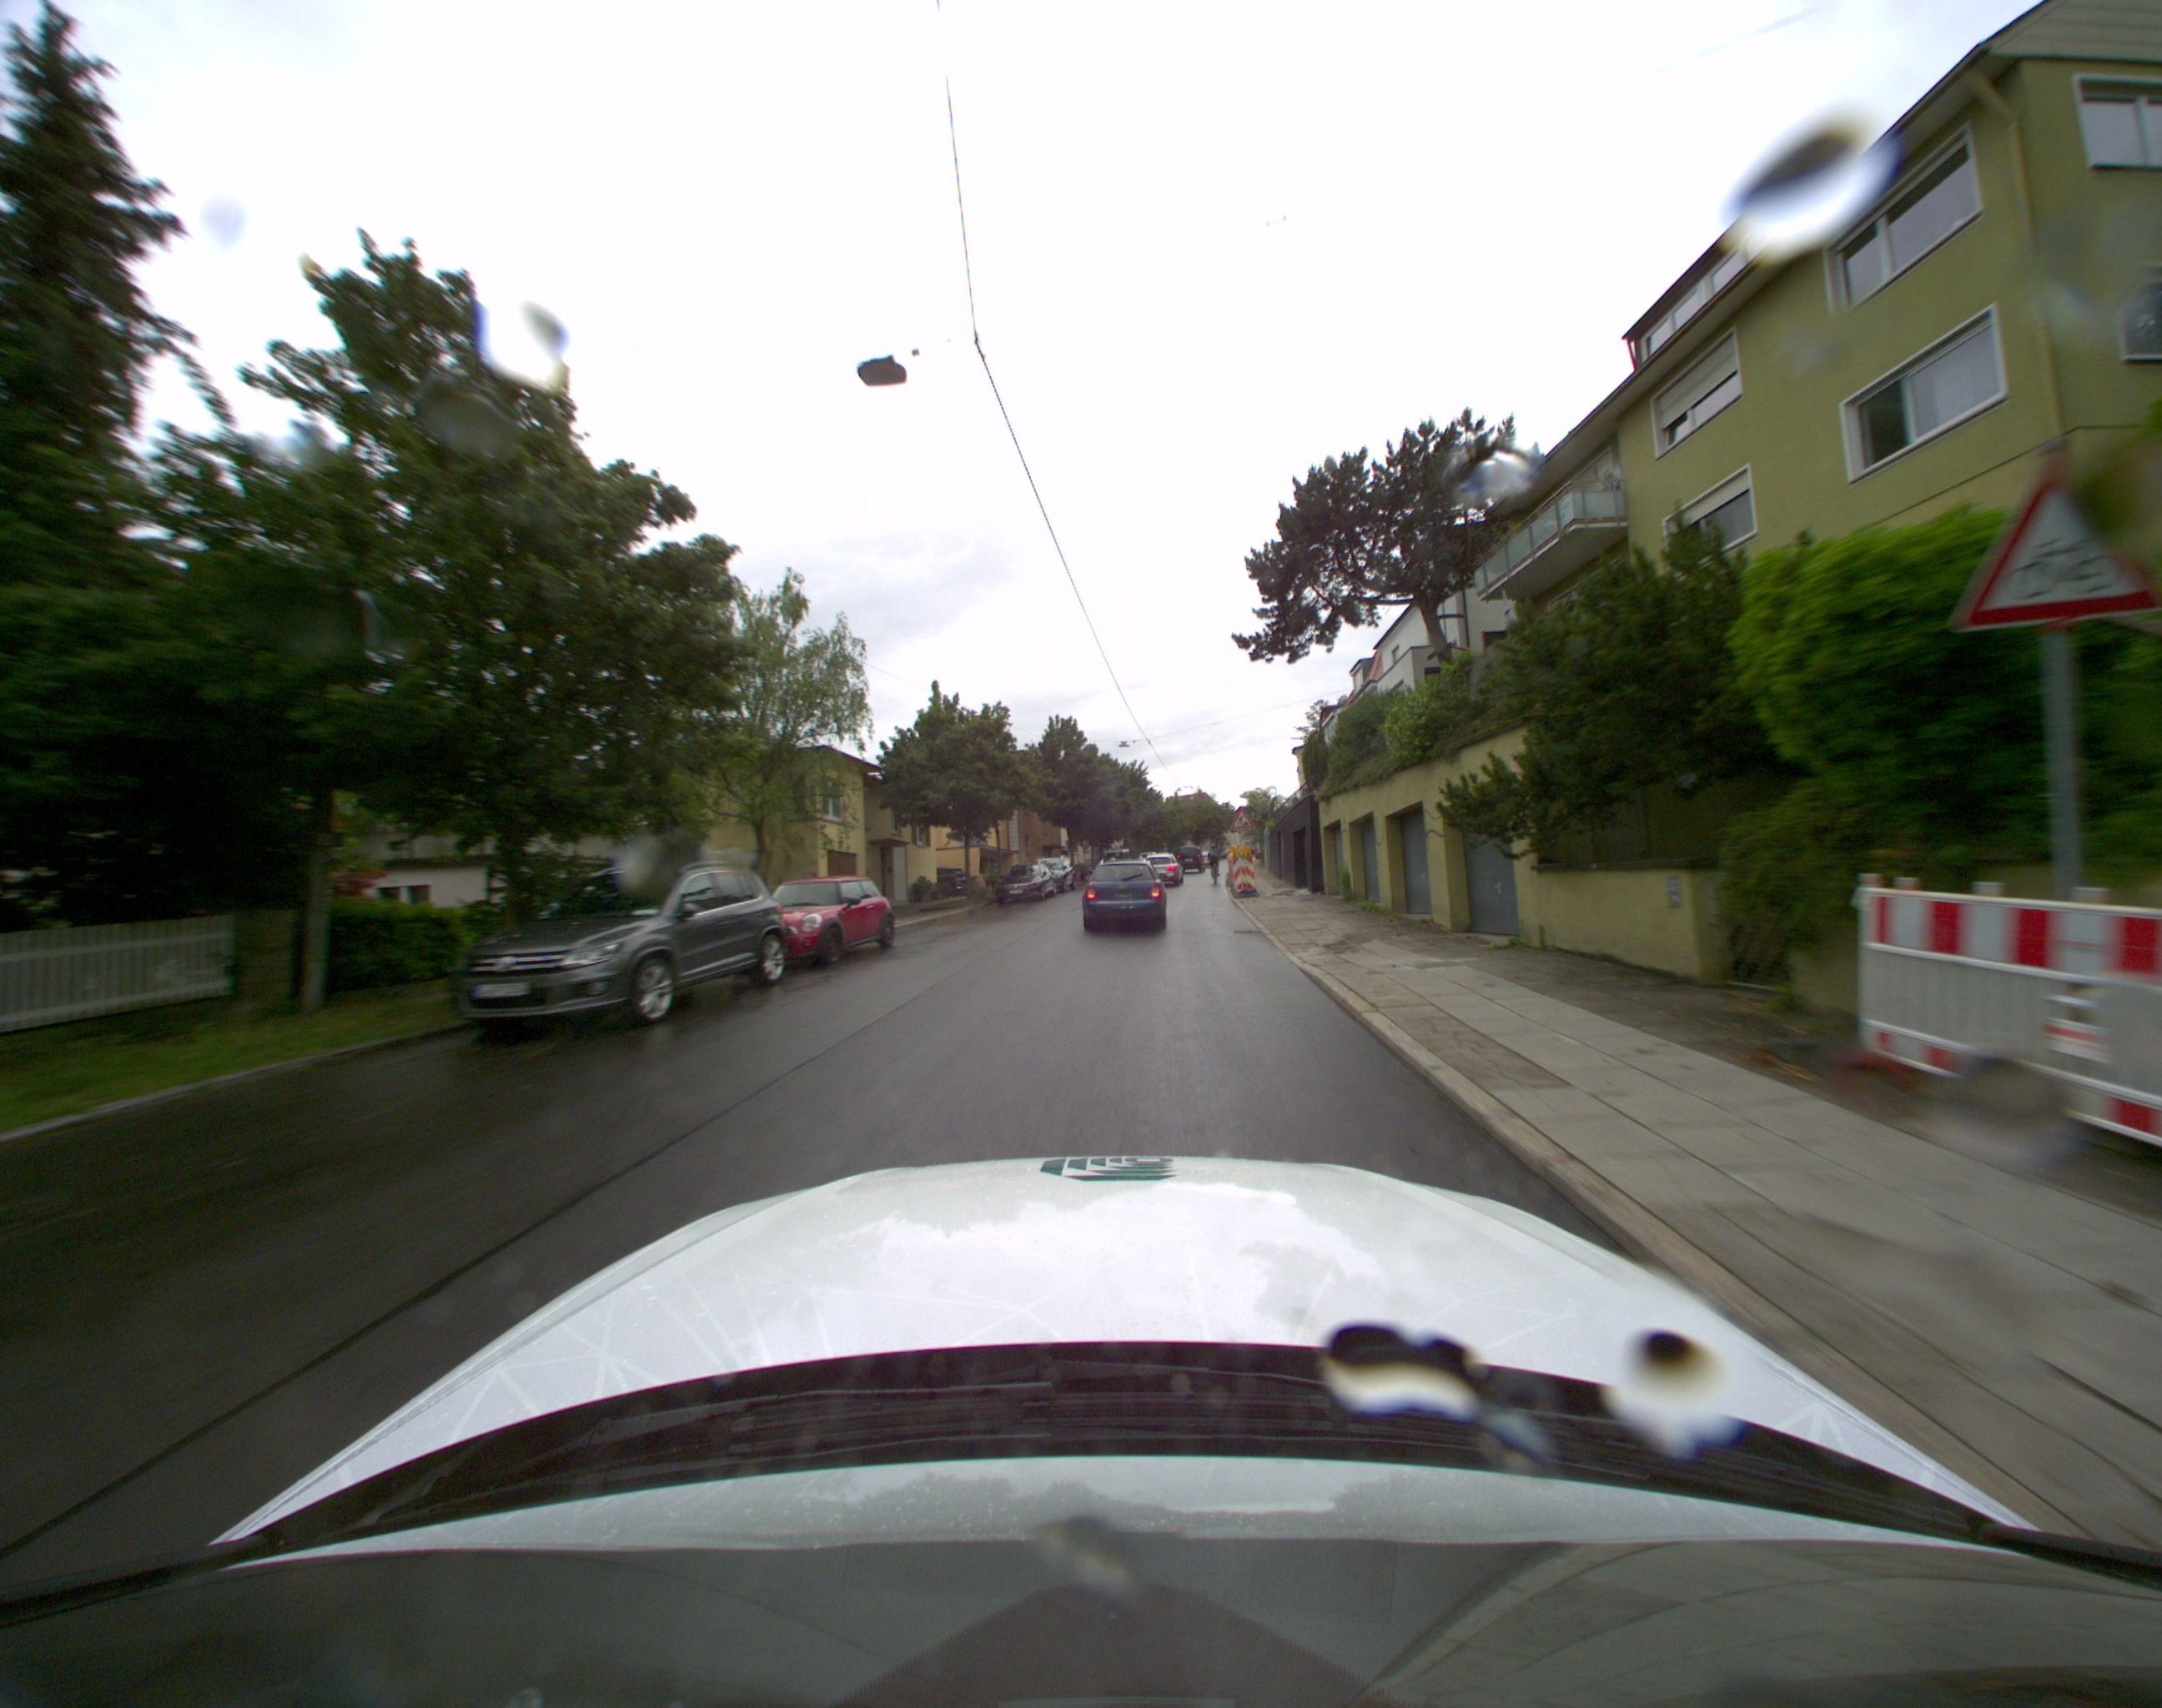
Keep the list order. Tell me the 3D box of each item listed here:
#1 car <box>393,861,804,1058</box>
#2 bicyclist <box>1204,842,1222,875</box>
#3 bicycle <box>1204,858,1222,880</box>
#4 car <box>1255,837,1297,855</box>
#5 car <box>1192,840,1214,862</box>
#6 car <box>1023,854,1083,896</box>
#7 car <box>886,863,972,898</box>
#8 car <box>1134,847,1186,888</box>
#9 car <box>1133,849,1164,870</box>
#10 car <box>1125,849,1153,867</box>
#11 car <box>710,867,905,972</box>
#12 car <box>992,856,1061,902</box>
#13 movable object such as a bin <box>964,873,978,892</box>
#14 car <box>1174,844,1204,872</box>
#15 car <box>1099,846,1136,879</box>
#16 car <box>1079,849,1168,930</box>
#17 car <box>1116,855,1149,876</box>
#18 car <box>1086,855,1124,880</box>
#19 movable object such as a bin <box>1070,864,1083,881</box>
[{"bbox_3d":[-5.084,0.970,9.495,1.792,1.669,4.432,-3,-1,5],"label":"car"},{"bbox_3d":[6.123,0.219,37.806,0.720,1.472,0.889,-3,0,11],"label":"bicyclist"},{"bbox_3d":[6.137,0.679,37.800,0.725,0.964,1.676,-2,0,11],"label":"bicycle"},{"bbox_3d":[20.006,-0.866,83.515,3.955,1.466,1.747,-5,0,18],"label":"car"},{"bbox_3d":[10.584,-0.287,70.525,1.723,1.768,4.247,-1,2,10],"label":"car"},{"bbox_3d":[-1.242,0.932,38.257,1.757,1.634,4.122,-7,0,11],"label":"car"},{"bbox_3d":[-8.129,1.397,43.749,4.028,1.646,1.869,-3,-1,10],"label":"car"},{"bbox_3d":[3.726,0.573,37.717,1.963,1.635,4.248,-1,2,11],"label":"car"},{"bbox_3d":[6.036,0.475,72.737,1.755,1.627,4.709,-5,-1,15],"label":"car"},{"bbox_3d":[7.469,0.508,104.635,3.186,1.740,1.486,-10,-1,15],"label":"car"},{"bbox_3d":[-4.614,1.039,14.379,1.673,1.472,3.873,-3,-1,7],"label":"car"},{"bbox_3d":[-2.093,0.940,32.765,1.758,1.535,4.615,-5,0,8],"label":"car"},{"bbox_3d":[-6.202,1.625,46.002,0.583,1.023,0.587,-2,0,7],"label":"movable object such as a bin"},{"bbox_3d":[7.536,0.239,56.559,1.722,1.768,4.249,-1,2,12],"label":"car"},{"bbox_3d":[2.733,0.584,59.885,1.780,2.049,4.797,-6,0,11],"label":"car"},{"bbox_3d":[0.981,0.691,18.065,1.726,1.466,4.005,-1,2,4],"label":"car"},{"bbox_3d":[4.188,0.914,66.029,1.755,1.387,4.652,-5,1,14],"label":"car"},{"bbox_3d":[1.653,0.874,54.633,1.757,1.436,4.360,-5,-1,10],"label":"car"},{"bbox_3d":[-0.274,1.179,52.531,0.679,1.011,0.709,-8,-1,5],"label":"movable object such as a bin"}]
